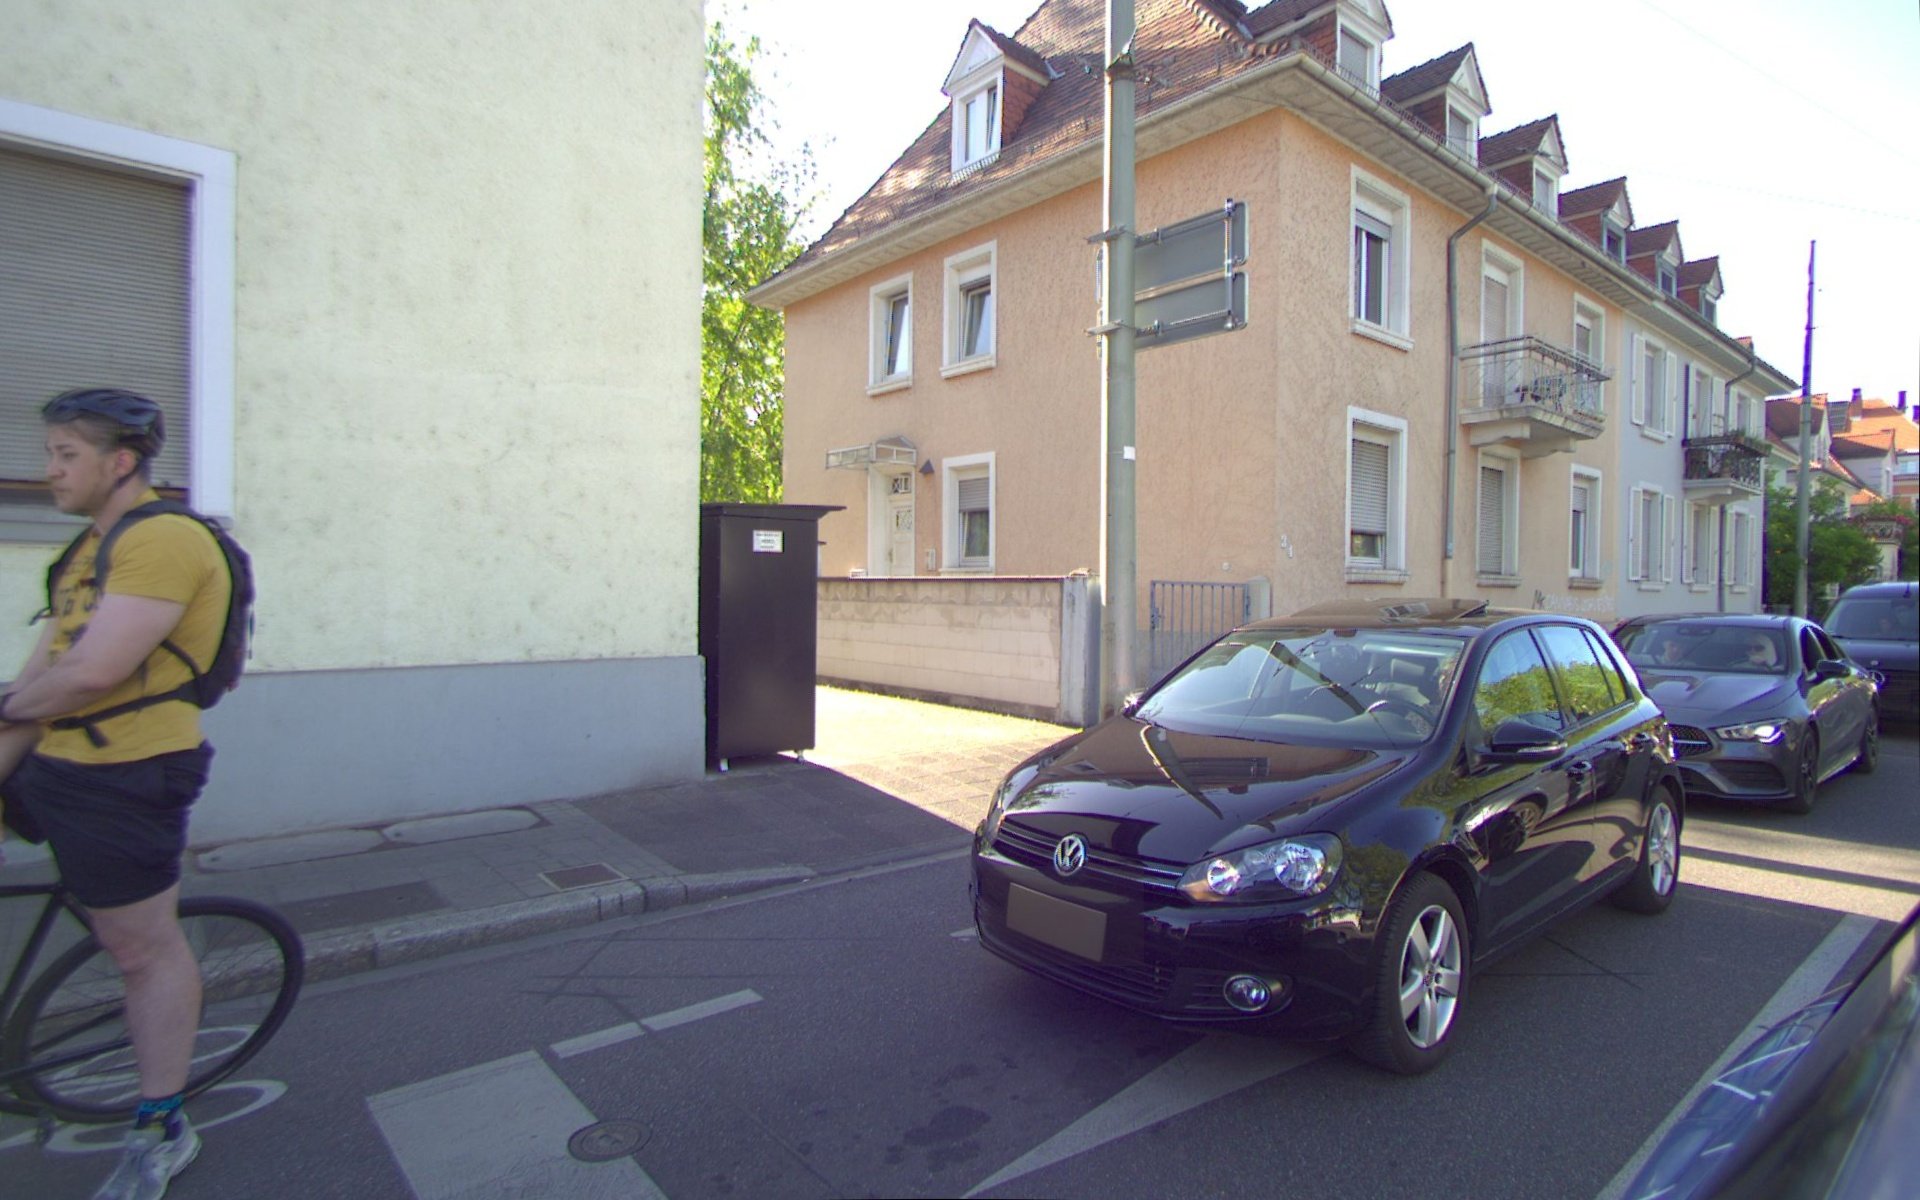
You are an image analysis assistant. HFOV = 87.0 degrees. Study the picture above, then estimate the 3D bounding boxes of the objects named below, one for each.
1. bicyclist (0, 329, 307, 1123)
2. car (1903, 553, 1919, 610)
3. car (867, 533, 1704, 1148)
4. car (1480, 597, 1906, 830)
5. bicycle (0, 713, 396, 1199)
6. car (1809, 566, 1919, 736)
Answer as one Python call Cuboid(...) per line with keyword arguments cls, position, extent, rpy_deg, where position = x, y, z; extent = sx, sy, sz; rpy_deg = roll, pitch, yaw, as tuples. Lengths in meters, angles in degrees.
Cuboid(cls="bicyclist", position=(-2.206, 0.263, 2.535), extent=(0.868, 1.684, 0.807), rpy_deg=(0, 0, -40))
Cuboid(cls="car", position=(26.843, -0.506, 27.156), extent=(3.930, 1.476, 1.839), rpy_deg=(-1, 0, -41))
Cuboid(cls="car", position=(1.719, 0.641, 4.497), extent=(3.979, 1.527, 1.731), rpy_deg=(2, -1, -41))
Cuboid(cls="car", position=(6.374, 0.716, 8.602), extent=(4.413, 1.437, 1.911), rpy_deg=(-1, 1, -40))
Cuboid(cls="bicycle", position=(-2.384, 0.893, 2.379), extent=(1.749, 1.044, 0.756), rpy_deg=(-1, 0, -40))
Cuboid(cls="car", position=(12.090, 0.525, 12.411), extent=(4.695, 1.827, 1.864), rpy_deg=(-1, 0, -41))
